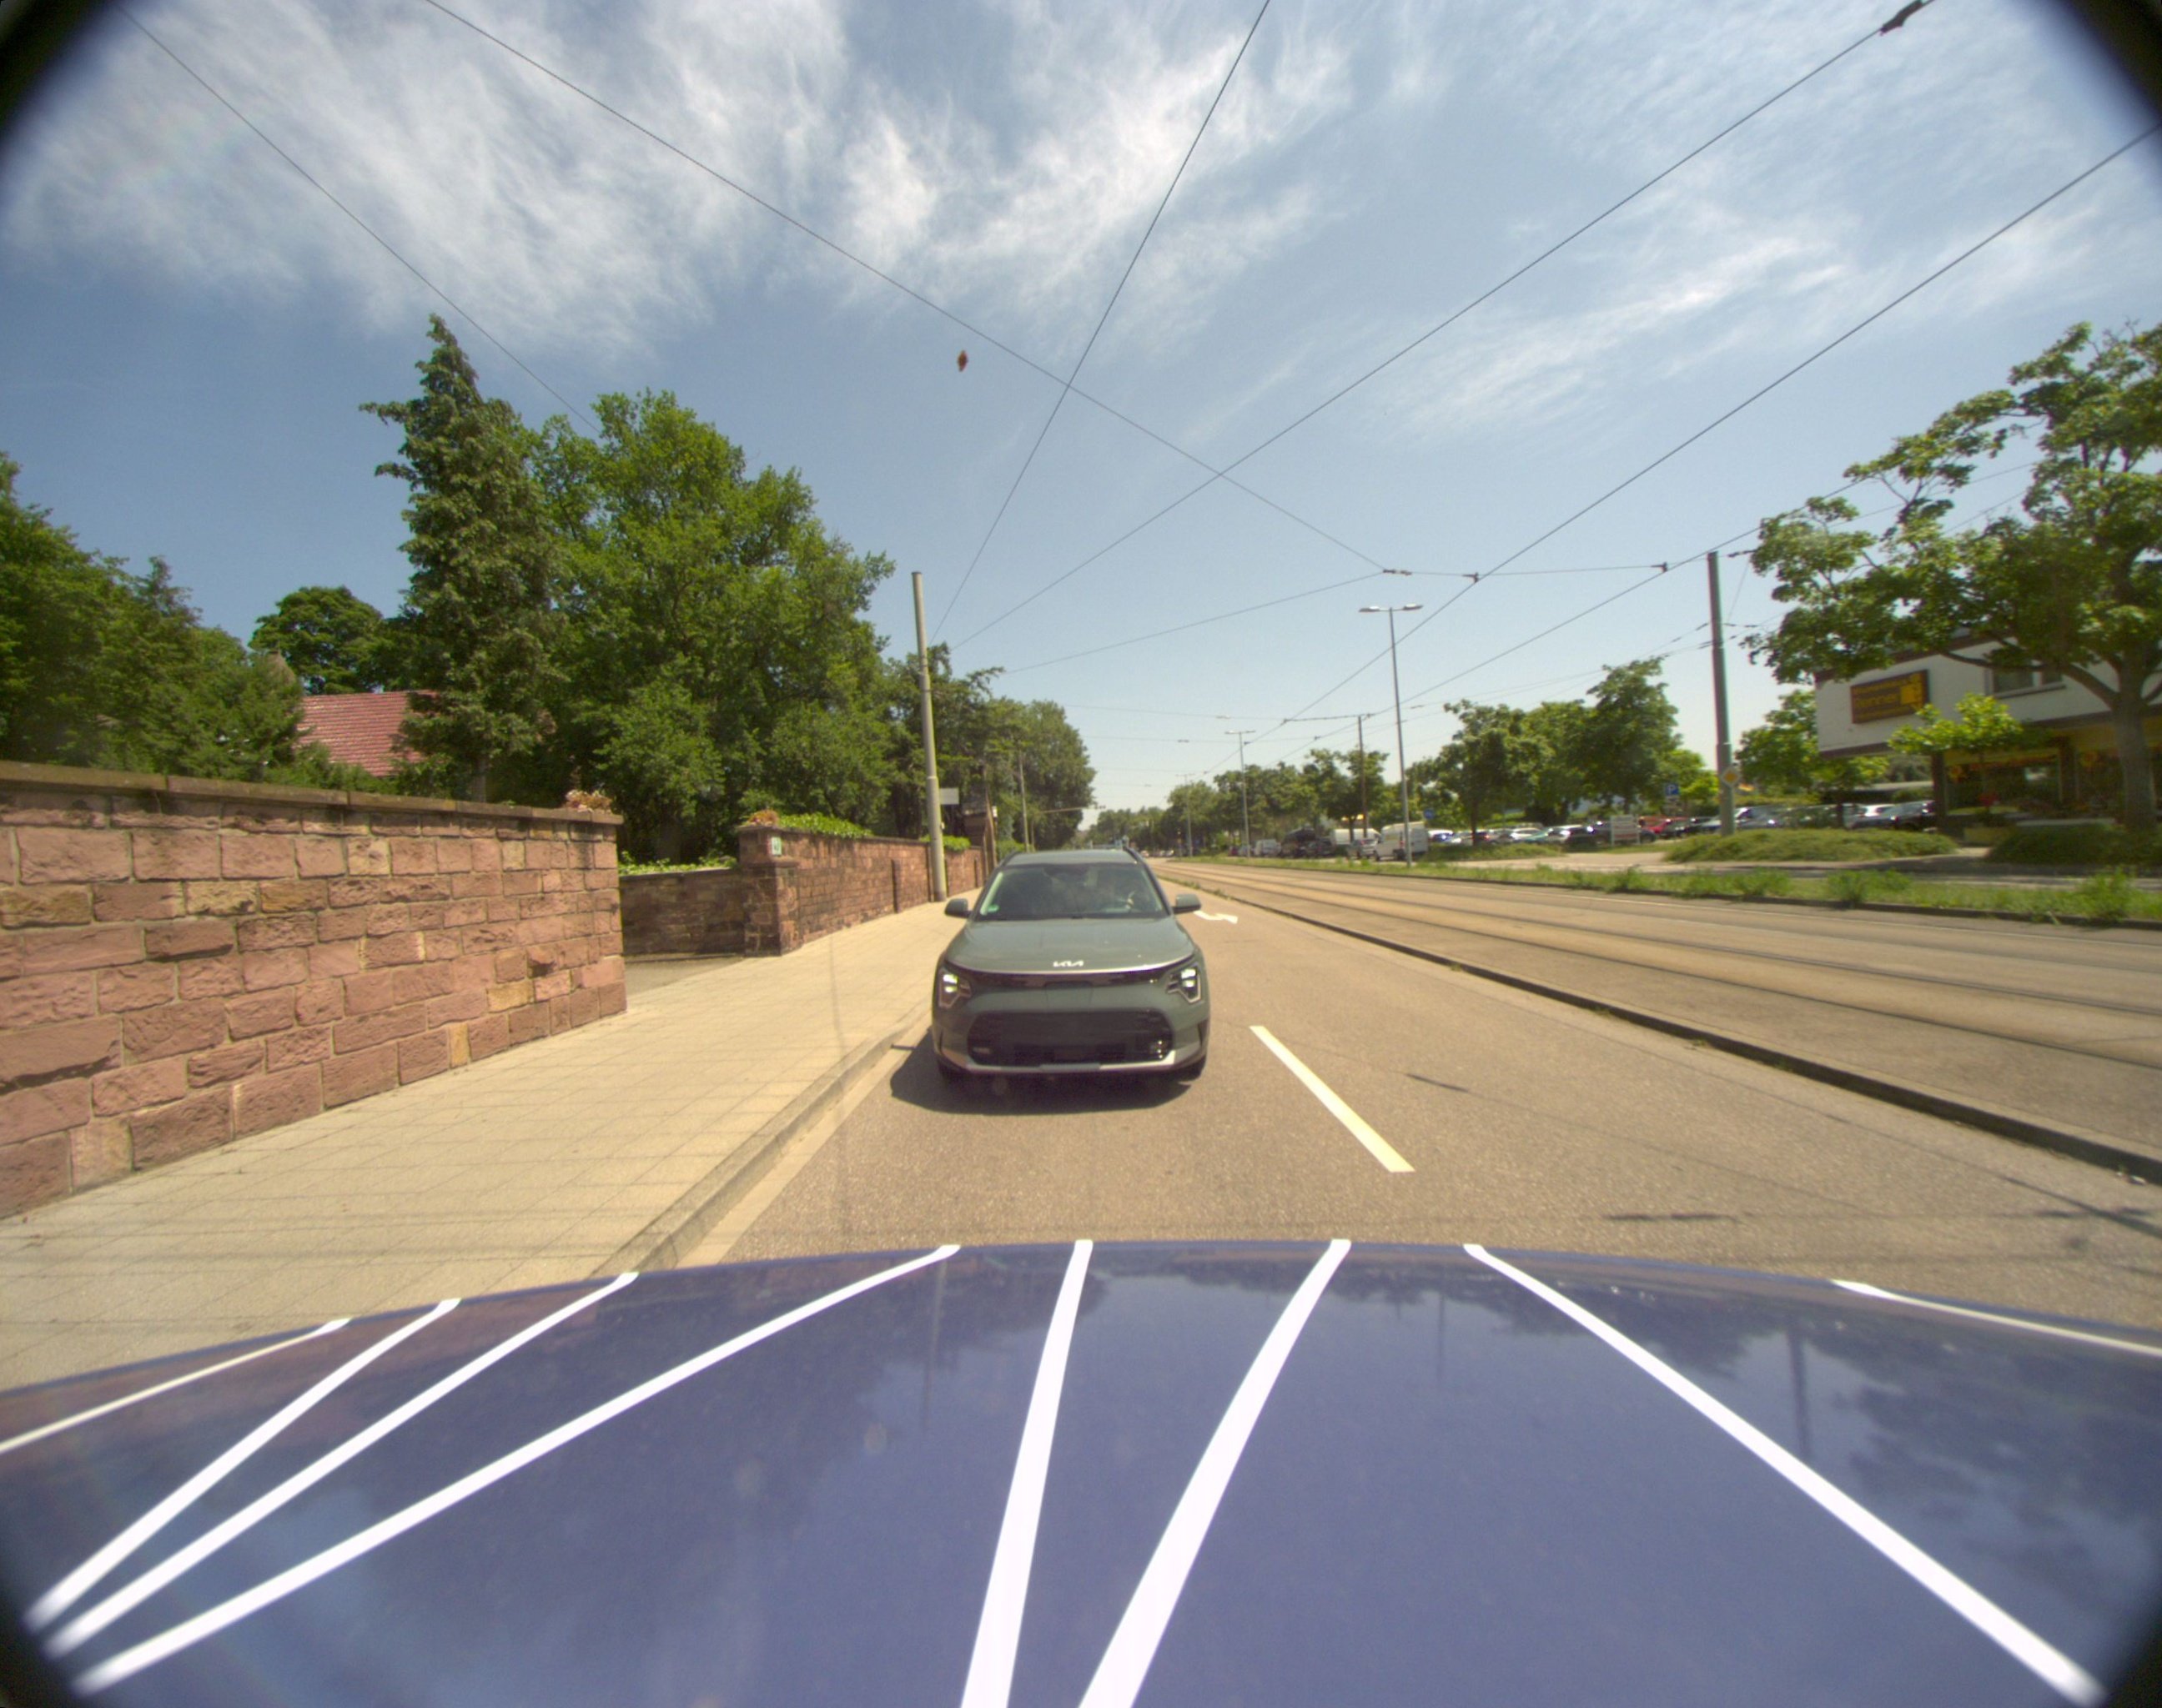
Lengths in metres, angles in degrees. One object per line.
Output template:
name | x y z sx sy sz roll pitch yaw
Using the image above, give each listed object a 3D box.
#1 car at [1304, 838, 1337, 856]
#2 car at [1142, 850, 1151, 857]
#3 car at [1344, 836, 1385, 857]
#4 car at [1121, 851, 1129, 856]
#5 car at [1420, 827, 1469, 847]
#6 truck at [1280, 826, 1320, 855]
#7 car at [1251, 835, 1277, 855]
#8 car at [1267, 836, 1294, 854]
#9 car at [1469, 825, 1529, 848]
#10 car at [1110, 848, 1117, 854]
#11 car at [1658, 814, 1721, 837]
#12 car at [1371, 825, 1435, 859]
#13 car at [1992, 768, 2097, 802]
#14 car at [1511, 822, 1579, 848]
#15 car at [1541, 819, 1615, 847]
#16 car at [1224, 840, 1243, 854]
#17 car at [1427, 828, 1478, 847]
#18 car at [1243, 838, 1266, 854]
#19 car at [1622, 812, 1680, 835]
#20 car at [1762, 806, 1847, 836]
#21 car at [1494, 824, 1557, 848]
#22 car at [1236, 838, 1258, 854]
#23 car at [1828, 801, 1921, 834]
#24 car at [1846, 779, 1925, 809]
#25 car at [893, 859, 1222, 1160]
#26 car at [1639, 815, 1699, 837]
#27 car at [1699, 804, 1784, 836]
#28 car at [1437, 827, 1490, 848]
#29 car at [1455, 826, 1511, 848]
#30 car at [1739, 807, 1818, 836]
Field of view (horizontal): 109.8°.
car | 20.204 -0.592 64.259 1.675 1.378 3.669 -3 0 2
car | 16.245 -0.170 189.293 1.737 1.469 4.000 -4 0 0
car | 20.175 -0.529 54.186 1.675 1.378 3.569 -3 0 2
car | 13.784 -0.165 238.284 1.998 1.652 4.000 -4 0 0
car | 31.350 -1.471 65.625 3.414 1.497 1.603 -4 1 -5
truck | 20.222 -1.222 70.371 2.225 2.526 4.929 -4 0 1
car | 20.291 -0.980 84.284 1.681 1.963 4.509 -4 0 0
car | 20.650 -0.915 78.760 1.681 1.783 3.868 -4 0 0
car | 30.073 -1.241 54.650 3.414 1.386 1.603 -4 1 -5
car | 9.483 -0.808 222.564 1.998 1.652 4.000 -3 0 0
car | 43.801 -2.034 54.718 3.355 1.381 1.506 -4 1 -2
car | 20.193 -0.723 47.845 1.998 1.872 4.661 -4 0 1
car | 61.211 -4.381 48.318 3.996 1.761 2.000 -3 1 2
car | 30.296 -1.250 49.665 3.414 1.482 1.598 -4 1 -5
car | 30.906 -1.276 47.319 3.414 1.482 1.793 -4 1 -5
car | 20.337 -0.917 101.235 1.681 1.693 3.823 -4 0 0
car | 30.774 -1.364 62.962 3.414 1.386 1.603 -4 1 -5
car | 20.627 -0.914 90.331 1.681 1.783 4.202 -4 0 0
car | 44.842 -2.423 59.806 3.355 1.552 1.506 -4 1 -2
car | 42.523 -1.934 44.718 3.492 1.528 1.624 -4 1 -2
car | 30.641 -1.237 52.390 3.414 1.386 1.603 -4 1 -5
car | 20.640 -0.958 94.662 1.681 1.783 4.202 -3 0 0
car | 43.692 -1.979 41.890 3.492 1.528 1.624 -4 1 -2
car | 63.202 -4.685 59.734 3.996 2.002 2.000 -3 1 2
car | -0.101 0.889 6.356 1.789 1.561 4.184 -2 1 1
car | 44.211 -2.112 57.177 3.355 1.450 1.506 -4 1 -2
car | 43.032 -2.204 49.571 3.998 1.774 1.813 -4 1 -2
car | 30.245 -1.311 60.128 3.414 1.386 1.603 -4 1 -5
car | 30.501 -1.293 57.722 3.414 1.386 1.603 -4 1 -5
car | 43.258 -2.006 47.170 3.492 1.528 1.534 -4 1 -2
